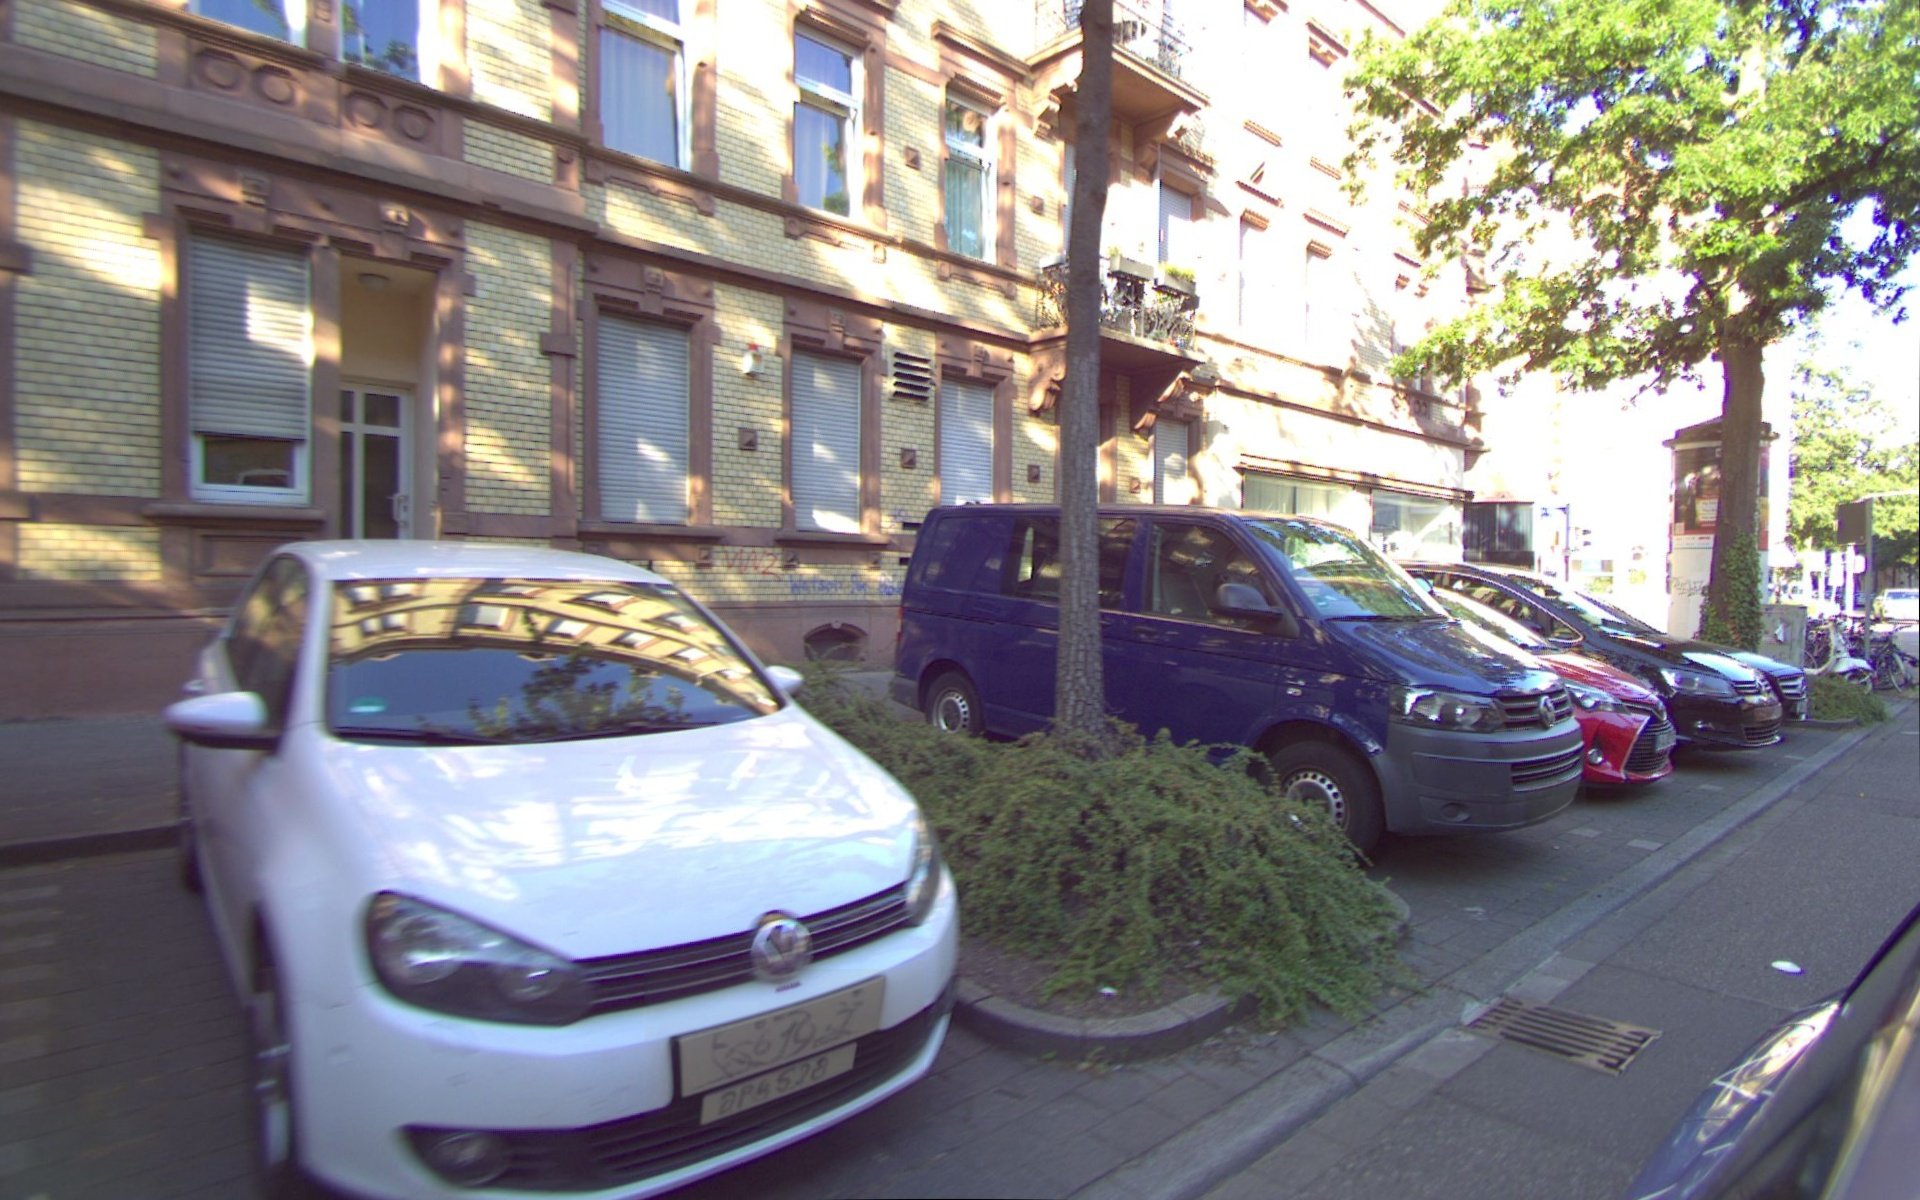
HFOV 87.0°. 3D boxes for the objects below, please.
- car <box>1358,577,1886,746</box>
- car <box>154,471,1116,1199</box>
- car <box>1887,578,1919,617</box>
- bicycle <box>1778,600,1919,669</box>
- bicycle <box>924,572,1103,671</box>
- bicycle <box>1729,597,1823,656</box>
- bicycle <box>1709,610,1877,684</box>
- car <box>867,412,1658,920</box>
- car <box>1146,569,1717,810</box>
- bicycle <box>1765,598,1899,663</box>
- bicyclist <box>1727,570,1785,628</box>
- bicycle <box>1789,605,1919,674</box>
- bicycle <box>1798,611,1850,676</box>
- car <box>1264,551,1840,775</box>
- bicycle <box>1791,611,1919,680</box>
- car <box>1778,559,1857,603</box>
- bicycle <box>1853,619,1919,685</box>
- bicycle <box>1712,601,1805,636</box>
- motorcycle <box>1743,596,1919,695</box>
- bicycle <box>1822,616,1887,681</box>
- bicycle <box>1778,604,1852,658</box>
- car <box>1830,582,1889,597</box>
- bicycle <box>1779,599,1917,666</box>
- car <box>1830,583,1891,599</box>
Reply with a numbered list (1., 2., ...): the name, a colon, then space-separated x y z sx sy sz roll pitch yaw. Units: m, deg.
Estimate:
1. car: 7.359 0.512 11.776 1.818 1.430 4.799 -1 3 -38
2. car: -1.617 0.457 3.664 1.846 1.528 4.062 -1 3 -41
3. car: 45.692 -0.135 48.263 1.991 1.772 3.941 1 1 41
4. bicycle: 15.835 0.606 18.026 1.907 1.107 0.424 2 3 12
5. bicycle: 0.755 0.241 13.386 2.546 1.185 0.672 -1 3 -39
6. bicycle: 16.150 0.525 20.043 1.447 1.107 0.575 1 3 -10
7. bicycle: 12.798 0.698 15.613 0.348 0.938 1.934 -1 4 -41
8. car: 1.602 0.240 7.031 1.958 2.242 5.031 -1 1 -40
9. car: 3.746 0.538 8.656 1.694 1.554 4.113 -1 1 -40
10. bicycle: 16.418 0.566 19.085 1.905 1.107 0.424 2 3 10
11. bicyclist: 21.905 -0.020 27.863 1.067 1.573 0.630 -1 -1 20
12. bicycle: 15.671 0.682 17.566 1.907 1.064 0.501 2 3 12
13. bicycle: 13.943 0.685 16.326 1.498 0.938 0.354 -1 4 -40
14. car: 5.554 0.384 10.243 1.815 1.699 4.708 0 3 -32
15. bicycle: 15.147 0.748 16.848 1.918 1.000 0.492 3 3 27
16. car: 66.028 -1.478 78.129 3.299 3.218 7.996 1 1 31
17. bicycle: 14.241 0.783 15.259 1.383 0.938 0.355 1 3 -11
18. bicycle: 21.937 0.504 27.841 1.855 0.924 0.630 -1 -1 20
19. motorcycle: 12.696 0.617 14.749 0.674 1.249 1.902 0 3 -40
20. bicycle: 14.106 0.745 15.946 1.496 0.938 0.355 -1 4 -34
21. bicycle: 17.304 0.613 20.496 0.990 1.039 0.731 0 1 27
22. car: 93.895 -1.110 105.735 4.269 1.605 1.979 1 1 31
23. bicycle: 16.334 0.585 18.640 1.905 1.107 0.424 2 3 10
24. car: 90.654 -0.940 101.971 4.269 1.605 1.979 1 1 31
